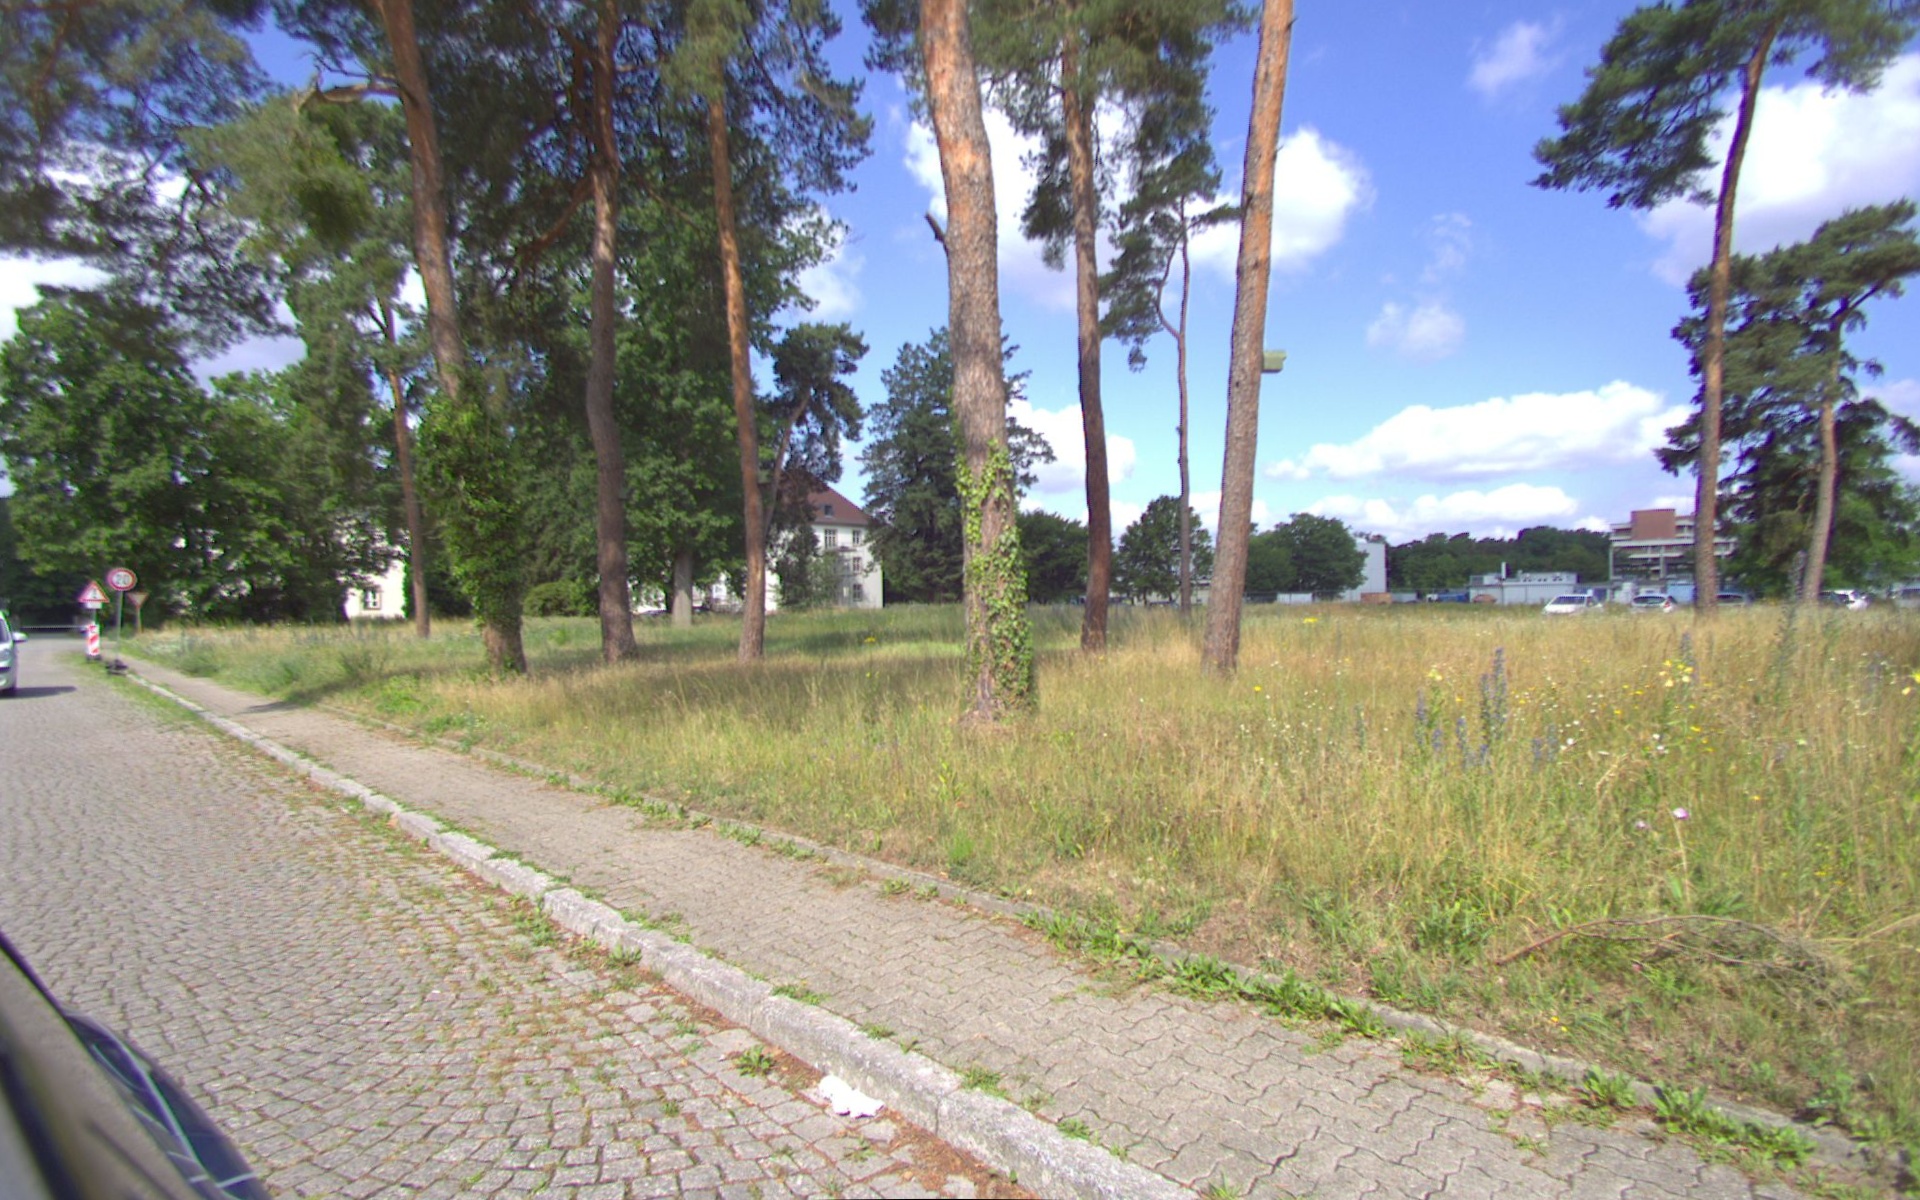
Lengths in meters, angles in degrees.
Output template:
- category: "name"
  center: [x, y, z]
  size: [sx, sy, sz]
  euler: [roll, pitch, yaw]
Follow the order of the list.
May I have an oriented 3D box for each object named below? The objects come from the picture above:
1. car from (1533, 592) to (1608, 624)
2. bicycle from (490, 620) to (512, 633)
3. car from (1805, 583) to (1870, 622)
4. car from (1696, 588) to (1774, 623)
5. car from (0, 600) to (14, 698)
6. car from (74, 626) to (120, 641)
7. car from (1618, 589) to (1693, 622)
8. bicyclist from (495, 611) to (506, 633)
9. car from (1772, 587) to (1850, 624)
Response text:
- category: "car"
  center: [27.245, 0.346, 45.136]
  size: [4.011, 1.359, 1.902]
  euler: [0, -1, -44]
- category: "bicycle"
  center: [-37.821, 2.207, 83.347]
  size: [0.635, 1.004, 1.535]
  euler: [-2, -1, 44]
- category: "car"
  center: [40.297, 0.133, 46.439]
  size: [4.019, 1.715, 1.902]
  euler: [0, -1, -44]
- category: "car"
  center: [31.151, 0.242, 40.639]
  size: [4.019, 1.330, 1.902]
  euler: [0, -1, -44]
- category: "car"
  center: [-20.513, 1.039, 20.607]
  size: [1.813, 1.883, 4.835]
  euler: [-1, -2, -43]
- category: "car"
  center: [-101.968, 3.972, 119.576]
  size: [4.025, 1.656, 1.769]
  euler: [0, -1, -44]
- category: "car"
  center: [29.643, 0.243, 43.101]
  size: [4.019, 1.349, 1.902]
  euler: [0, -1, -44]
- category: "bicyclist"
  center: [-37.835, 1.812, 83.354]
  size: [0.635, 1.783, 0.563]
  euler: [-2, -1, 45]
- category: "car"
  center: [32.623, 0.220, 38.751]
  size: [4.019, 1.319, 1.902]
  euler: [0, -1, -44]
